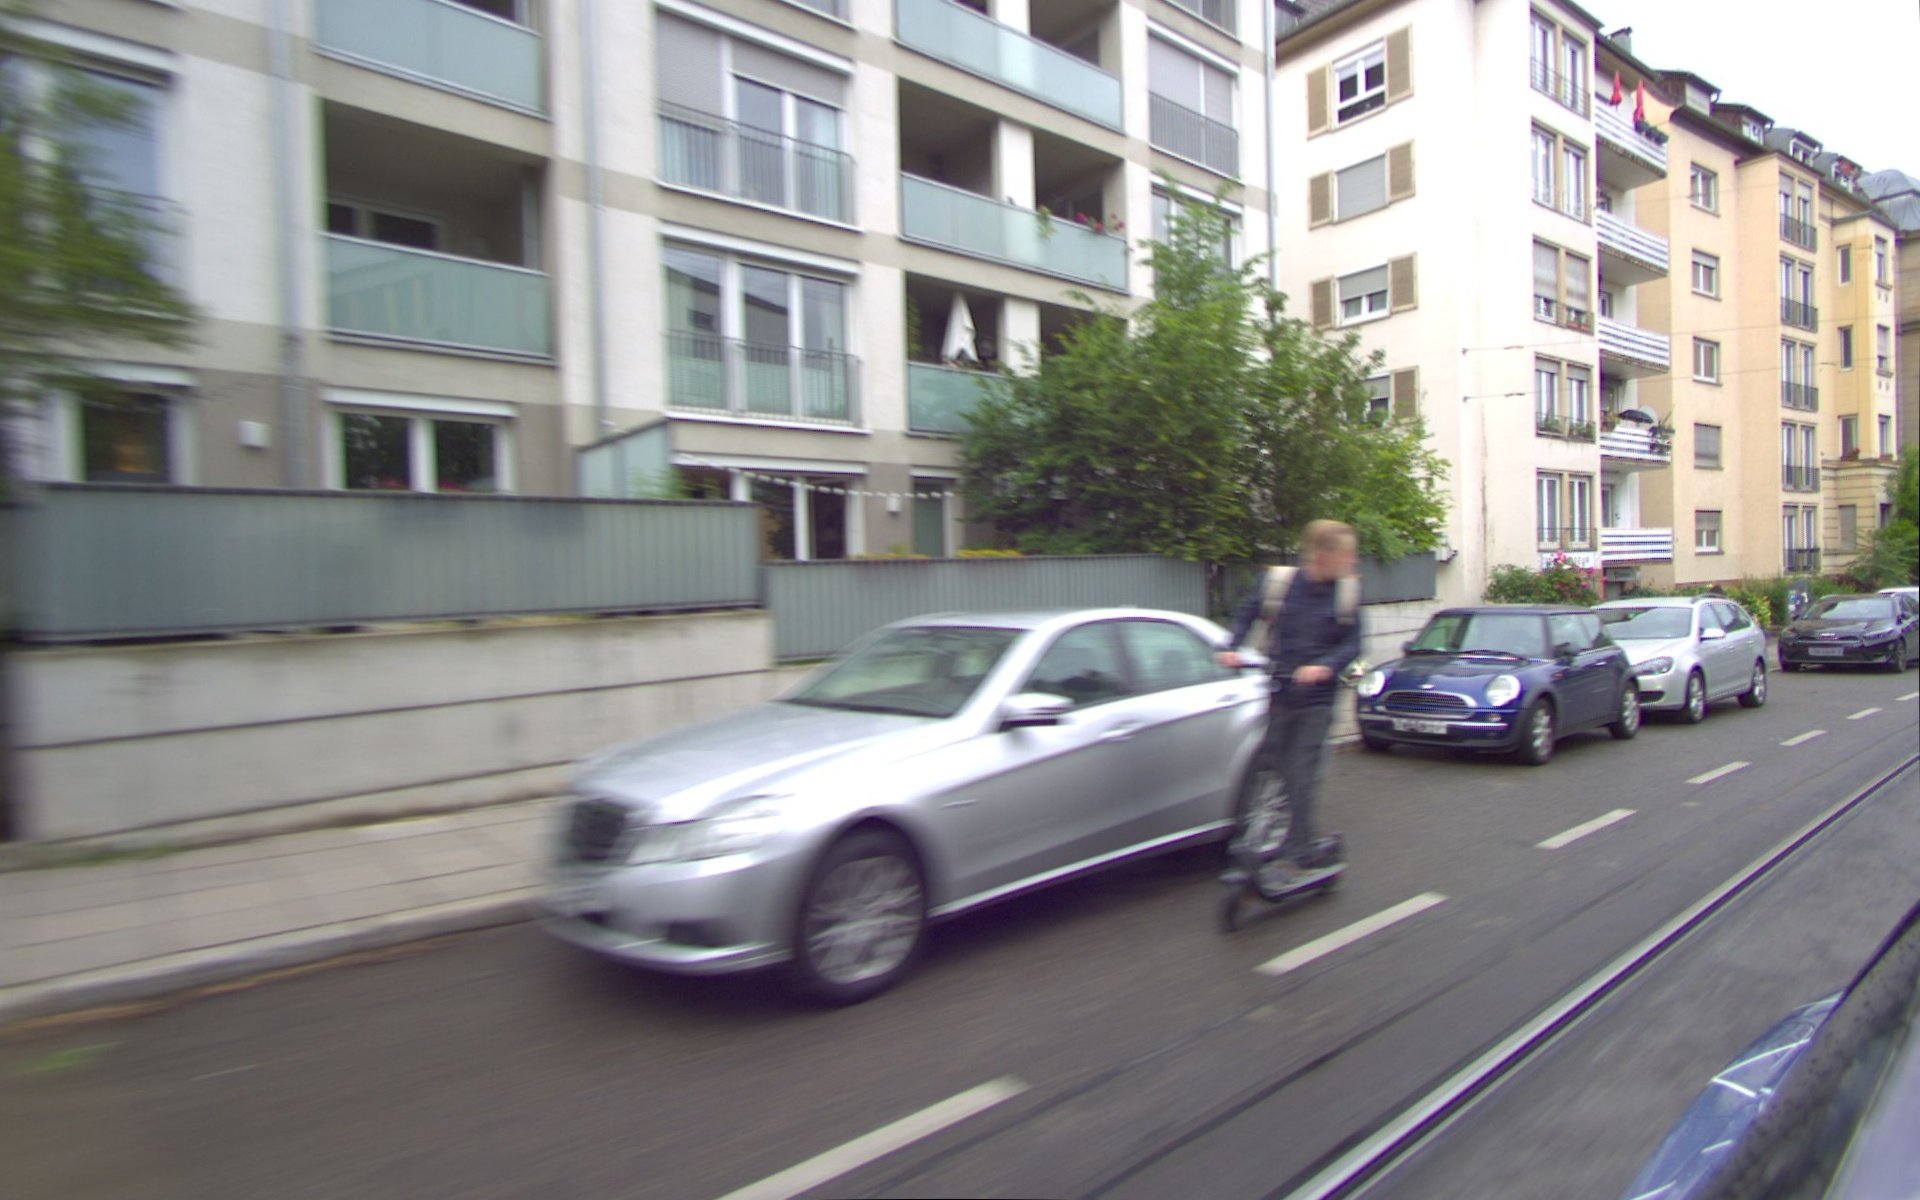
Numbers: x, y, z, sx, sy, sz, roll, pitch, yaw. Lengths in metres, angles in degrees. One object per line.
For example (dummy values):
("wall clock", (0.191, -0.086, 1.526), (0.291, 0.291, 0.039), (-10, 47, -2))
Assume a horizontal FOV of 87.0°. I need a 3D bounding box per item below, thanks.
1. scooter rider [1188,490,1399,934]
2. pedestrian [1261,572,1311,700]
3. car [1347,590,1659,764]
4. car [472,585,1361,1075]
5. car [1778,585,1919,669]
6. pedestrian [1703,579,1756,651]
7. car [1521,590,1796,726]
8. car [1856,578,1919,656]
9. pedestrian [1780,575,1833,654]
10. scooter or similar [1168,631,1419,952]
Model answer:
("scooter rider", (1.568, 0.475, 4.768), (0.678, 1.881, 0.644), (-1, -1, -42))
("pedestrian", (4.223, 0.448, 13.131), (0.574, 1.606, 0.566), (1, 0, 17))
("car", (5.536, 0.661, 10.173), (3.452, 1.442, 1.599), (0, -1, -40))
("car", (0.149, 0.746, 5.468), (4.707, 1.535, 1.860), (0, -1, -42))
("car", (17.782, 0.485, 19.725), (4.025, 1.471, 1.799), (-1, -2, -35))
("pedestrian", (17.445, 0.332, 22.955), (0.897, 1.588, 0.668), (0, 2, -34))
("car", (9.112, 0.658, 13.078), (4.310, 1.486, 1.722), (0, -1, -38))
("car", (21.646, 0.355, 22.571), (3.797, 1.643, 1.798), (0, -2, -38))
("pedestrian", (18.949, 0.310, 22.662), (0.652, 1.734, 0.718), (0, 2, -34))
("scooter or similar", (1.585, 0.804, 4.767), (1.071, 1.277, 0.644), (-1, -1, -42))
